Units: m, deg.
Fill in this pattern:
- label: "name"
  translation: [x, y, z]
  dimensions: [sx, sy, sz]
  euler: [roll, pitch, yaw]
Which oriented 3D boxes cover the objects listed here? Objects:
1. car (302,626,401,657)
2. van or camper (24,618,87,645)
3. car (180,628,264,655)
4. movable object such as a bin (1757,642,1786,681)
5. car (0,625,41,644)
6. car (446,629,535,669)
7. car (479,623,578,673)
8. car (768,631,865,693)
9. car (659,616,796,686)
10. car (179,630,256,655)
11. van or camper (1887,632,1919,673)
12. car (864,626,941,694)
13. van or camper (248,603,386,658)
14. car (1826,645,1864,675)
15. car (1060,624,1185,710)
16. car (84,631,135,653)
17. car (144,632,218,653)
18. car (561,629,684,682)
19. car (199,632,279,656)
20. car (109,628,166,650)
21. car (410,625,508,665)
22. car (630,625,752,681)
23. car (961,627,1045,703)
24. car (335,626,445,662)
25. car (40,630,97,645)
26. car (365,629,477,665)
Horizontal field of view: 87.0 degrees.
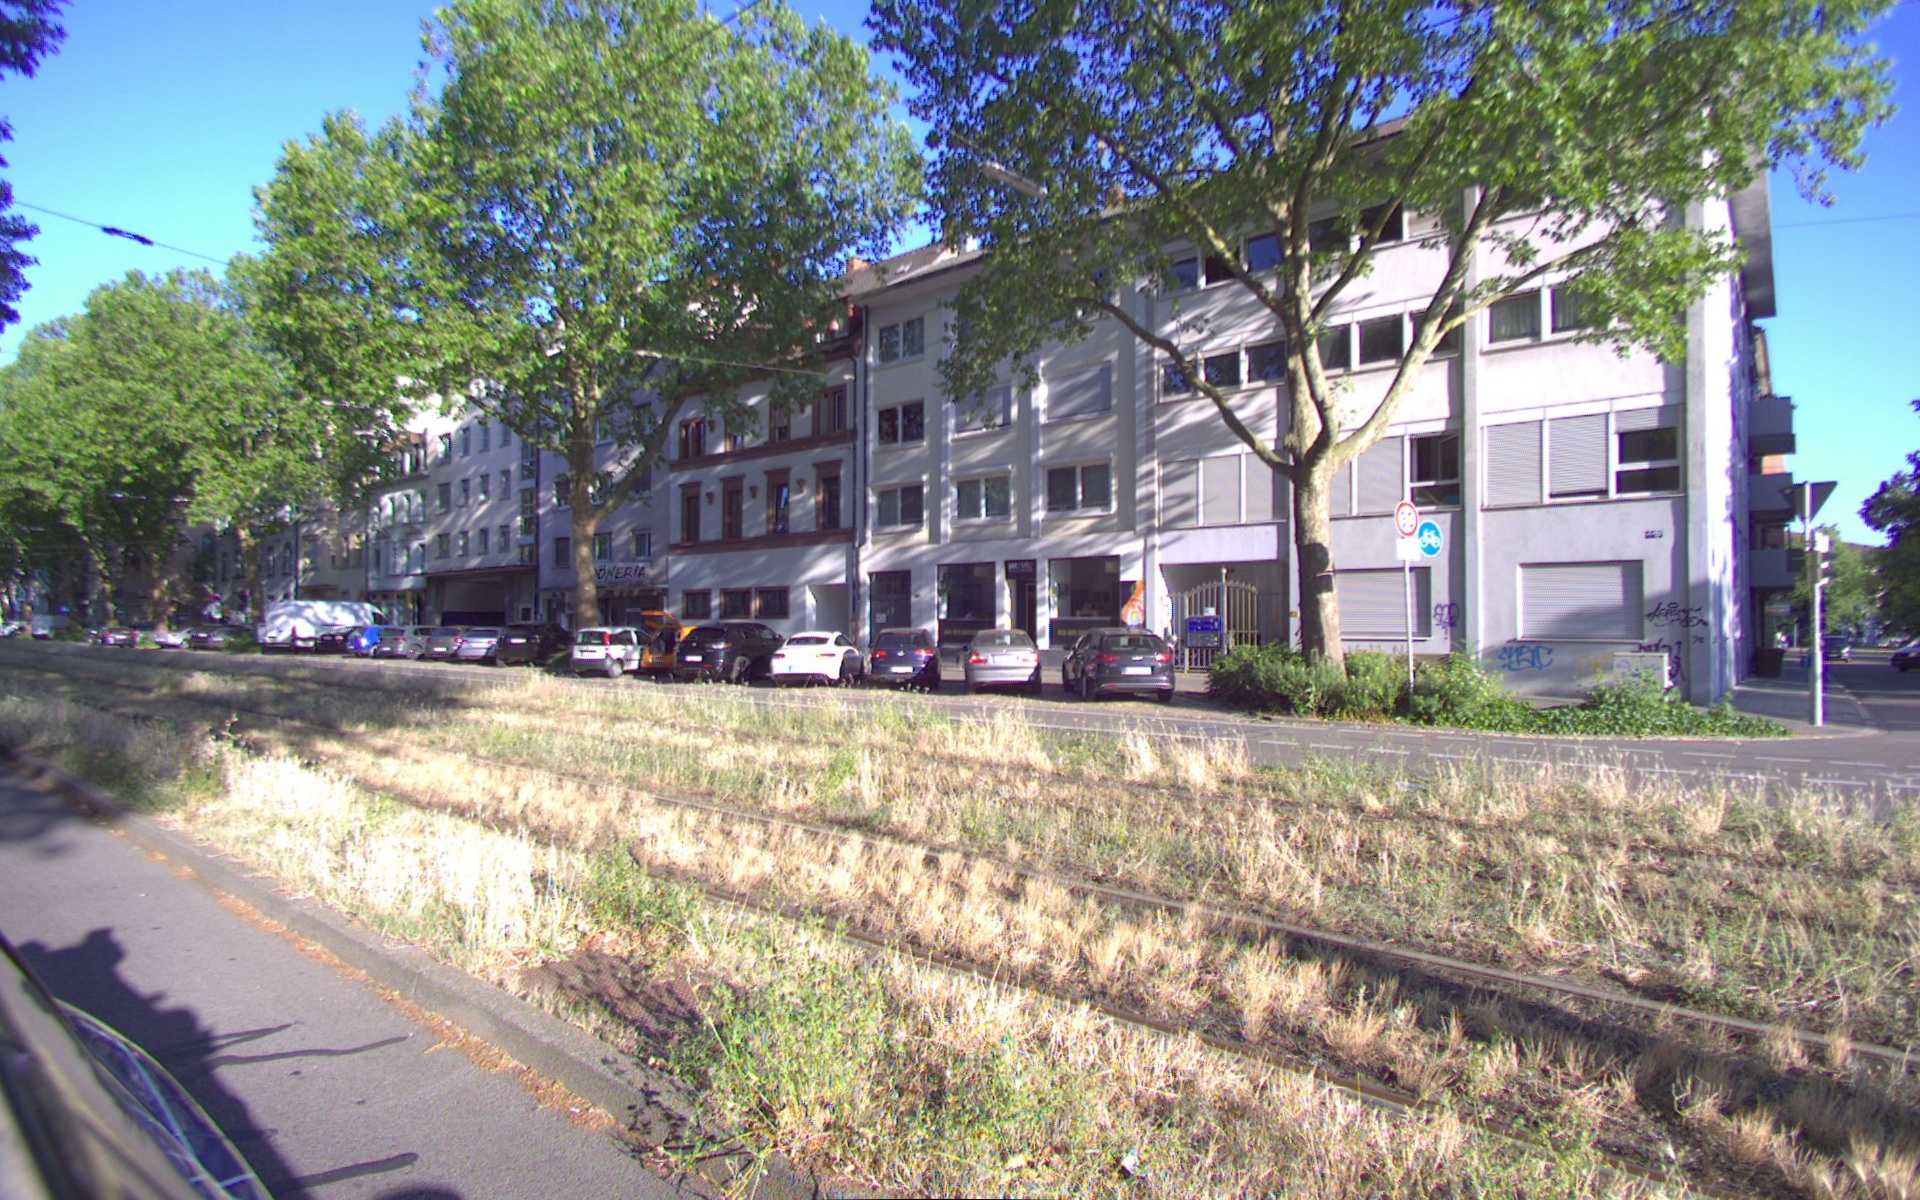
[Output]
- label: "car"
  translation: [-30.737, 2.089, 51.251]
  dimensions: [1.984, 1.502, 3.975]
  euler: [-1, -2, 18]
- label: "van or camper"
  translation: [-88.315, 3.066, 98.886]
  dimensions: [2.171, 2.418, 4.364]
  euler: [-1, 1, 0]
- label: "car"
  translation: [-45.522, 2.589, 62.541]
  dimensions: [1.912, 1.605, 4.155]
  euler: [0, -4, 4]
- label: "movable object such as a bin"
  translation: [27.833, 2.093, 34.735]
  dimensions: [0.745, 1.315, 0.861]
  euler: [-1, -2, 39]
- label: "car"
  translation: [-107.374, 3.955, 115.149]
  dimensions: [1.971, 2.029, 4.002]
  euler: [-1, 0, -2]
- label: "car"
  translation: [-18.293, 1.870, 39.586]
  dimensions: [1.883, 1.396, 4.004]
  euler: [-1, -1, -5]
- label: "car"
  translation: [-15.673, 1.695, 37.010]
  dimensions: [1.972, 1.673, 4.000]
  euler: [-1, -1, -1]
- label: "car"
  translation: [-3.686, 1.563, 26.681]
  dimensions: [1.700, 1.343, 4.200]
  euler: [-1, 0, 4]
- label: "car"
  translation: [-6.451, 1.451, 28.599]
  dimensions: [1.975, 1.800, 4.343]
  euler: [1, -3, 14]
- label: "car"
  translation: [-47.721, 2.765, 65.169]
  dimensions: [1.803, 1.545, 3.994]
  euler: [0, -3, 4]
- label: "van or camper"
  translation: [50.153, 2.639, 50.767]
  dimensions: [5.077, 2.029, 1.994]
  euler: [0, -2, 9]
- label: "car"
  translation: [-1.433, 1.449, 25.676]
  dimensions: [1.776, 1.452, 4.002]
  euler: [-1, 0, -3]
- label: "van or camper"
  translation: [-33.103, 1.576, 52.361]
  dimensions: [2.162, 2.666, 5.929]
  euler: [-1, -2, 19]
- label: "car"
  translation: [63.368, 4.257, 72.460]
  dimensions: [1.999, 2.029, 3.945]
  euler: [-1, -2, 41]
- label: "car"
  translation: [3.303, 1.327, 21.282]
  dimensions: [1.791, 1.490, 4.002]
  euler: [-1, 0, -2]
- label: "car"
  translation: [-56.634, 2.777, 67.378]
  dimensions: [4.480, 1.400, 1.802]
  euler: [-1, -4, 40]
- label: "car"
  translation: [-51.778, 2.808, 67.335]
  dimensions: [1.806, 1.400, 3.670]
  euler: [0, -2, 9]
- label: "car"
  translation: [-10.455, 1.677, 31.689]
  dimensions: [1.643, 1.460, 4.345]
  euler: [0, -1, 14]
- label: "car"
  translation: [-42.994, 2.619, 60.440]
  dimensions: [1.778, 1.368, 4.002]
  euler: [0, -3, 3]
- label: "car"
  translation: [-63.502, 3.013, 78.201]
  dimensions: [1.703, 1.666, 4.008]
  euler: [0, -2, -10]
- label: "car"
  translation: [-20.531, 1.815, 41.663]
  dimensions: [1.735, 1.433, 3.993]
  euler: [-1, 0, 6]
- label: "car"
  translation: [-8.353, 1.609, 31.788]
  dimensions: [1.764, 1.490, 3.974]
  euler: [-1, 0, 20]
- label: "car"
  translation: [0.908, 1.412, 23.271]
  dimensions: [1.698, 1.452, 4.000]
  euler: [-1, 0, -1]
- label: "car"
  translation: [-25.954, 1.986, 46.183]
  dimensions: [1.854, 1.431, 3.951]
  euler: [-1, 0, 36]
- label: "car"
  translation: [-86.009, 3.601, 97.683]
  dimensions: [1.709, 1.256, 3.993]
  euler: [-1, 1, 6]
- label: "car"
  translation: [-23.594, 2.022, 44.428]
  dimensions: [1.941, 1.503, 3.964]
  euler: [-1, -2, 27]
